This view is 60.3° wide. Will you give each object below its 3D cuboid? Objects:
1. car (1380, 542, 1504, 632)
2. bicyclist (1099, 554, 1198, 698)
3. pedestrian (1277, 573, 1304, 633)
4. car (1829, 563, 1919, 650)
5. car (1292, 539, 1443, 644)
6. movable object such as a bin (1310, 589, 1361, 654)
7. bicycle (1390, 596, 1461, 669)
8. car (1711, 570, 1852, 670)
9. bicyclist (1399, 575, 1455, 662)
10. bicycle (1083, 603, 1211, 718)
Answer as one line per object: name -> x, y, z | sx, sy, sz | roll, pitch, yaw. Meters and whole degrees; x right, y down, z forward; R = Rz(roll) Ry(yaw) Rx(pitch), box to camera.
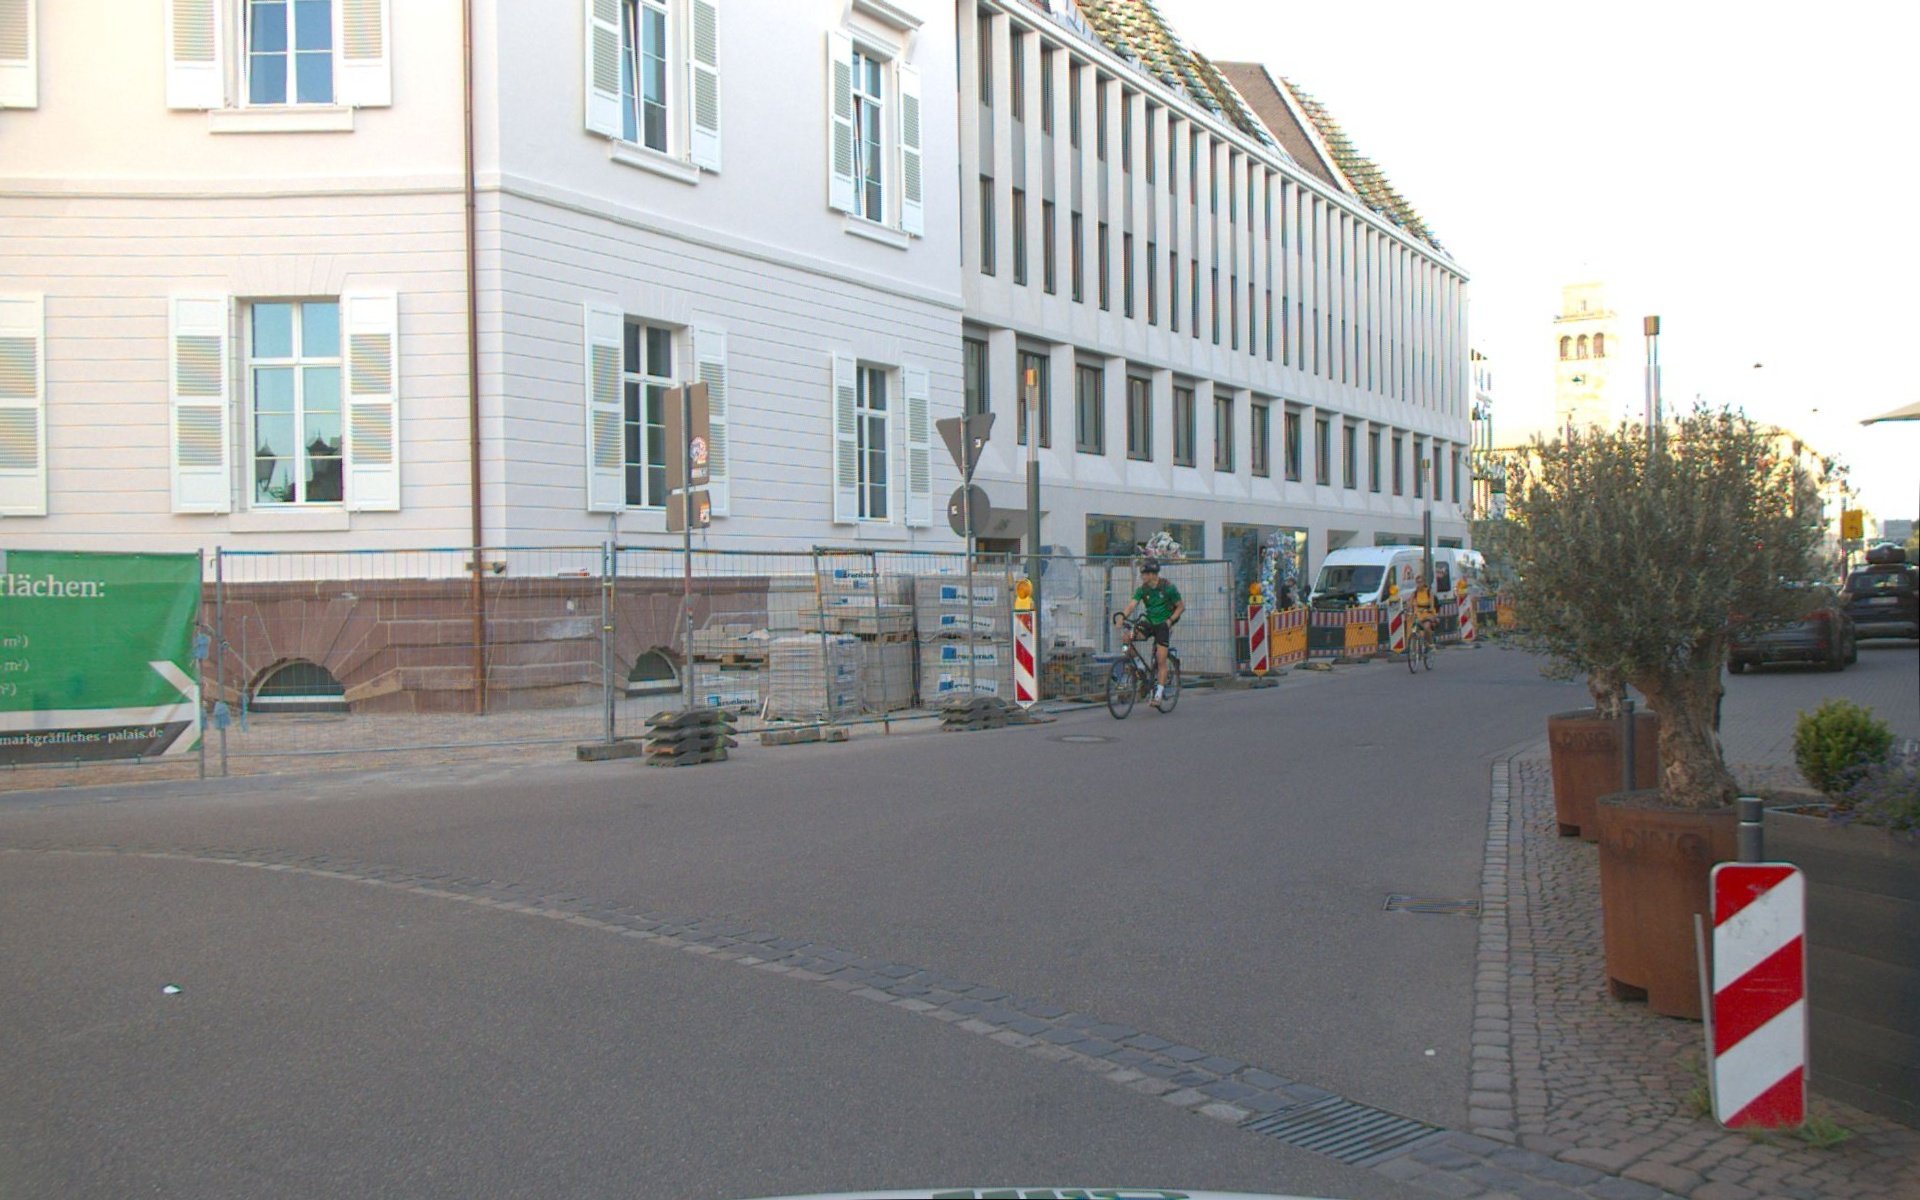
car -> 14.491, -0.402, 49.426 | 2.133, 2.513, 5.986 | 0, 1, 31
bicyclist -> 2.241, 0.289, 19.563 | 0.781, 1.631, 1.229 | -1, 0, 27
pedestrian -> 8.970, 0.086, 44.858 | 0.532, 1.605, 0.578 | -1, 0, 29
car -> 19.691, 0.119, 35.262 | 1.736, 1.666, 4.048 | -4, -2, 31
car -> 10.686, -0.248, 43.037 | 2.134, 2.513, 5.986 | 0, 1, 31
movable object such as a bin -> 8.925, 0.495, 39.308 | 1.021, 1.492, 1.394 | 0, 0, 19
bicycle -> 8.480, 0.569, 30.086 | 0.781, 1.238, 2.230 | -1, 1, 28
car -> 14.258, 0.310, 28.609 | 1.762, 1.516, 4.183 | -4, -2, 31
bicyclist -> 8.506, 0.327, 30.102 | 0.781, 1.559, 0.973 | -1, 0, 28
bicycle -> 2.243, 0.674, 19.559 | 0.780, 1.238, 2.231 | -1, 1, 26
